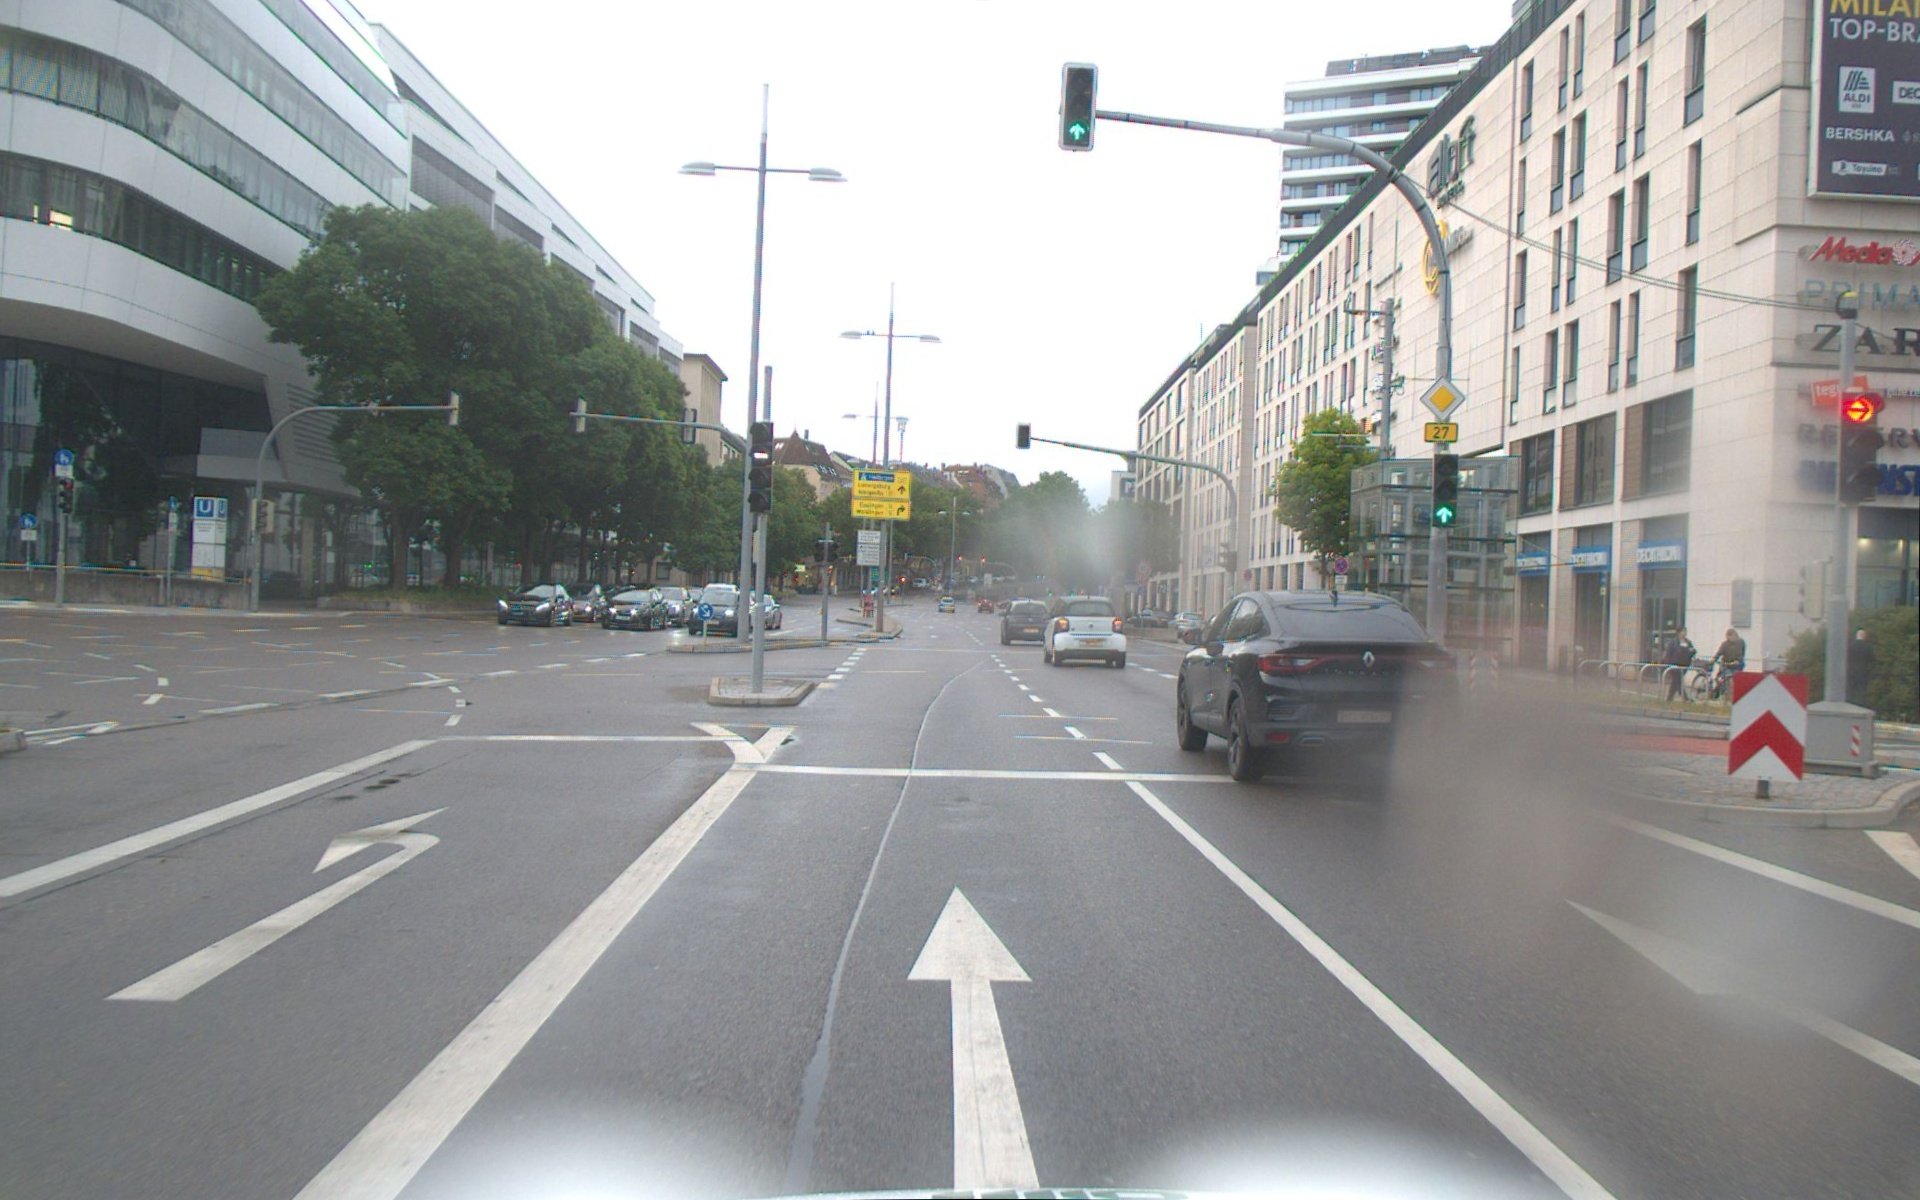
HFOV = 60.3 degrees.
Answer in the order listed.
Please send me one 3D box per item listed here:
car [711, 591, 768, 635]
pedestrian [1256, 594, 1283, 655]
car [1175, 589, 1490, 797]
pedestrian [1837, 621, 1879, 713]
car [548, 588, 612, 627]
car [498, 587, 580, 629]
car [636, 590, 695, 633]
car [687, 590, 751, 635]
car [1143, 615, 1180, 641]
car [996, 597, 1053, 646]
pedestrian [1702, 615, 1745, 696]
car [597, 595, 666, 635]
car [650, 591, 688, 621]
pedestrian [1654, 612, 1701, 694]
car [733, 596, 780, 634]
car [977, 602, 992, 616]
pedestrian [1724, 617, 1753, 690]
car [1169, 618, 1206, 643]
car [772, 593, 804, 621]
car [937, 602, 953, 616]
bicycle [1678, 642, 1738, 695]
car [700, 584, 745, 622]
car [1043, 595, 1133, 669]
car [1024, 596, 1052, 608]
[{"bbox_3d":[-8.430,0.512,63.517,1.668,1.586,4.244,1,-1,-1],"label":"car"},{"bbox_3d":[9.614,0.767,51.453,0.712,1.864,0.510,1,-1,-1],"label":"pedestrian"},{"bbox_3d":[3.123,0.697,14.780,1.754,1.533,4.338,1,1,-1],"label":"car"},{"bbox_3d":[17.896,1.332,32.973,0.434,1.811,0.590,2,-1,-29],"label":"pedestrian"},{"bbox_3d":[-14.775,0.319,64.455,1.708,1.448,3.539,1,-1,-1],"label":"car"},{"bbox_3d":[-14.244,0.289,56.180,1.708,1.352,4.225,1,-1,-1],"label":"car"},{"bbox_3d":[-11.501,0.456,64.753,1.708,1.586,3.539,1,-1,-1],"label":"car"},{"bbox_3d":[-8.230,0.439,56.698,1.708,1.470,3.394,1,-1,-1],"label":"car"},{"bbox_3d":[11.560,1.585,94.974,1.627,1.425,3.831,1,-1,-1],"label":"car"},{"bbox_3d":[2.128,0.713,55.260,1.704,1.558,3.813,1,-1,-1],"label":"car"},{"bbox_3d":[15.731,1.138,34.098,0.539,1.639,0.698,1,-1,-1],"label":"pedestrian"},{"bbox_3d":[-11.449,0.503,57.837,1.708,1.279,3.539,2,1,-1],"label":"car"},{"bbox_3d":[-18.281,0.393,104.011,1.708,1.779,3.539,1,-1,-1],"label":"car"},{"bbox_3d":[14.735,1.077,33.975,0.600,1.639,0.818,1,-1,-1],"label":"pedestrian"},{"bbox_3d":[-8.425,0.610,68.594,1.507,1.503,3.695,1,-1,-1],"label":"car"},{"bbox_3d":[2.904,1.051,195.865,1.704,1.558,3.813,1,-1,-1],"label":"car"},{"bbox_3d":[18.125,1.236,38.497,0.581,1.671,0.587,1,-1,24],"label":"pedestrian"},{"bbox_3d":[12.270,1.627,89.502,1.475,1.288,3.501,1,-1,-1],"label":"car"},{"bbox_3d":[-11.009,0.465,105.918,1.708,1.779,3.539,1,-1,-1],"label":"car"},{"bbox_3d":[-1.719,0.977,183.807,1.704,1.558,3.813,1,0,-1],"label":"car"},{"bbox_3d":[15.433,1.406,34.167,0.440,1.034,1.742,1,-1,0],"label":"bicycle"},{"bbox_3d":[-11.546,0.162,80.565,1.708,1.779,3.539,1,-1,-1],"label":"car"},{"bbox_3d":[2.863,0.708,37.565,1.689,1.558,3.813,1,-1,-1],"label":"car"},{"bbox_3d":[10.873,0.232,231.001,3.729,1.558,1.743,1,0,-8],"label":"car"}]
